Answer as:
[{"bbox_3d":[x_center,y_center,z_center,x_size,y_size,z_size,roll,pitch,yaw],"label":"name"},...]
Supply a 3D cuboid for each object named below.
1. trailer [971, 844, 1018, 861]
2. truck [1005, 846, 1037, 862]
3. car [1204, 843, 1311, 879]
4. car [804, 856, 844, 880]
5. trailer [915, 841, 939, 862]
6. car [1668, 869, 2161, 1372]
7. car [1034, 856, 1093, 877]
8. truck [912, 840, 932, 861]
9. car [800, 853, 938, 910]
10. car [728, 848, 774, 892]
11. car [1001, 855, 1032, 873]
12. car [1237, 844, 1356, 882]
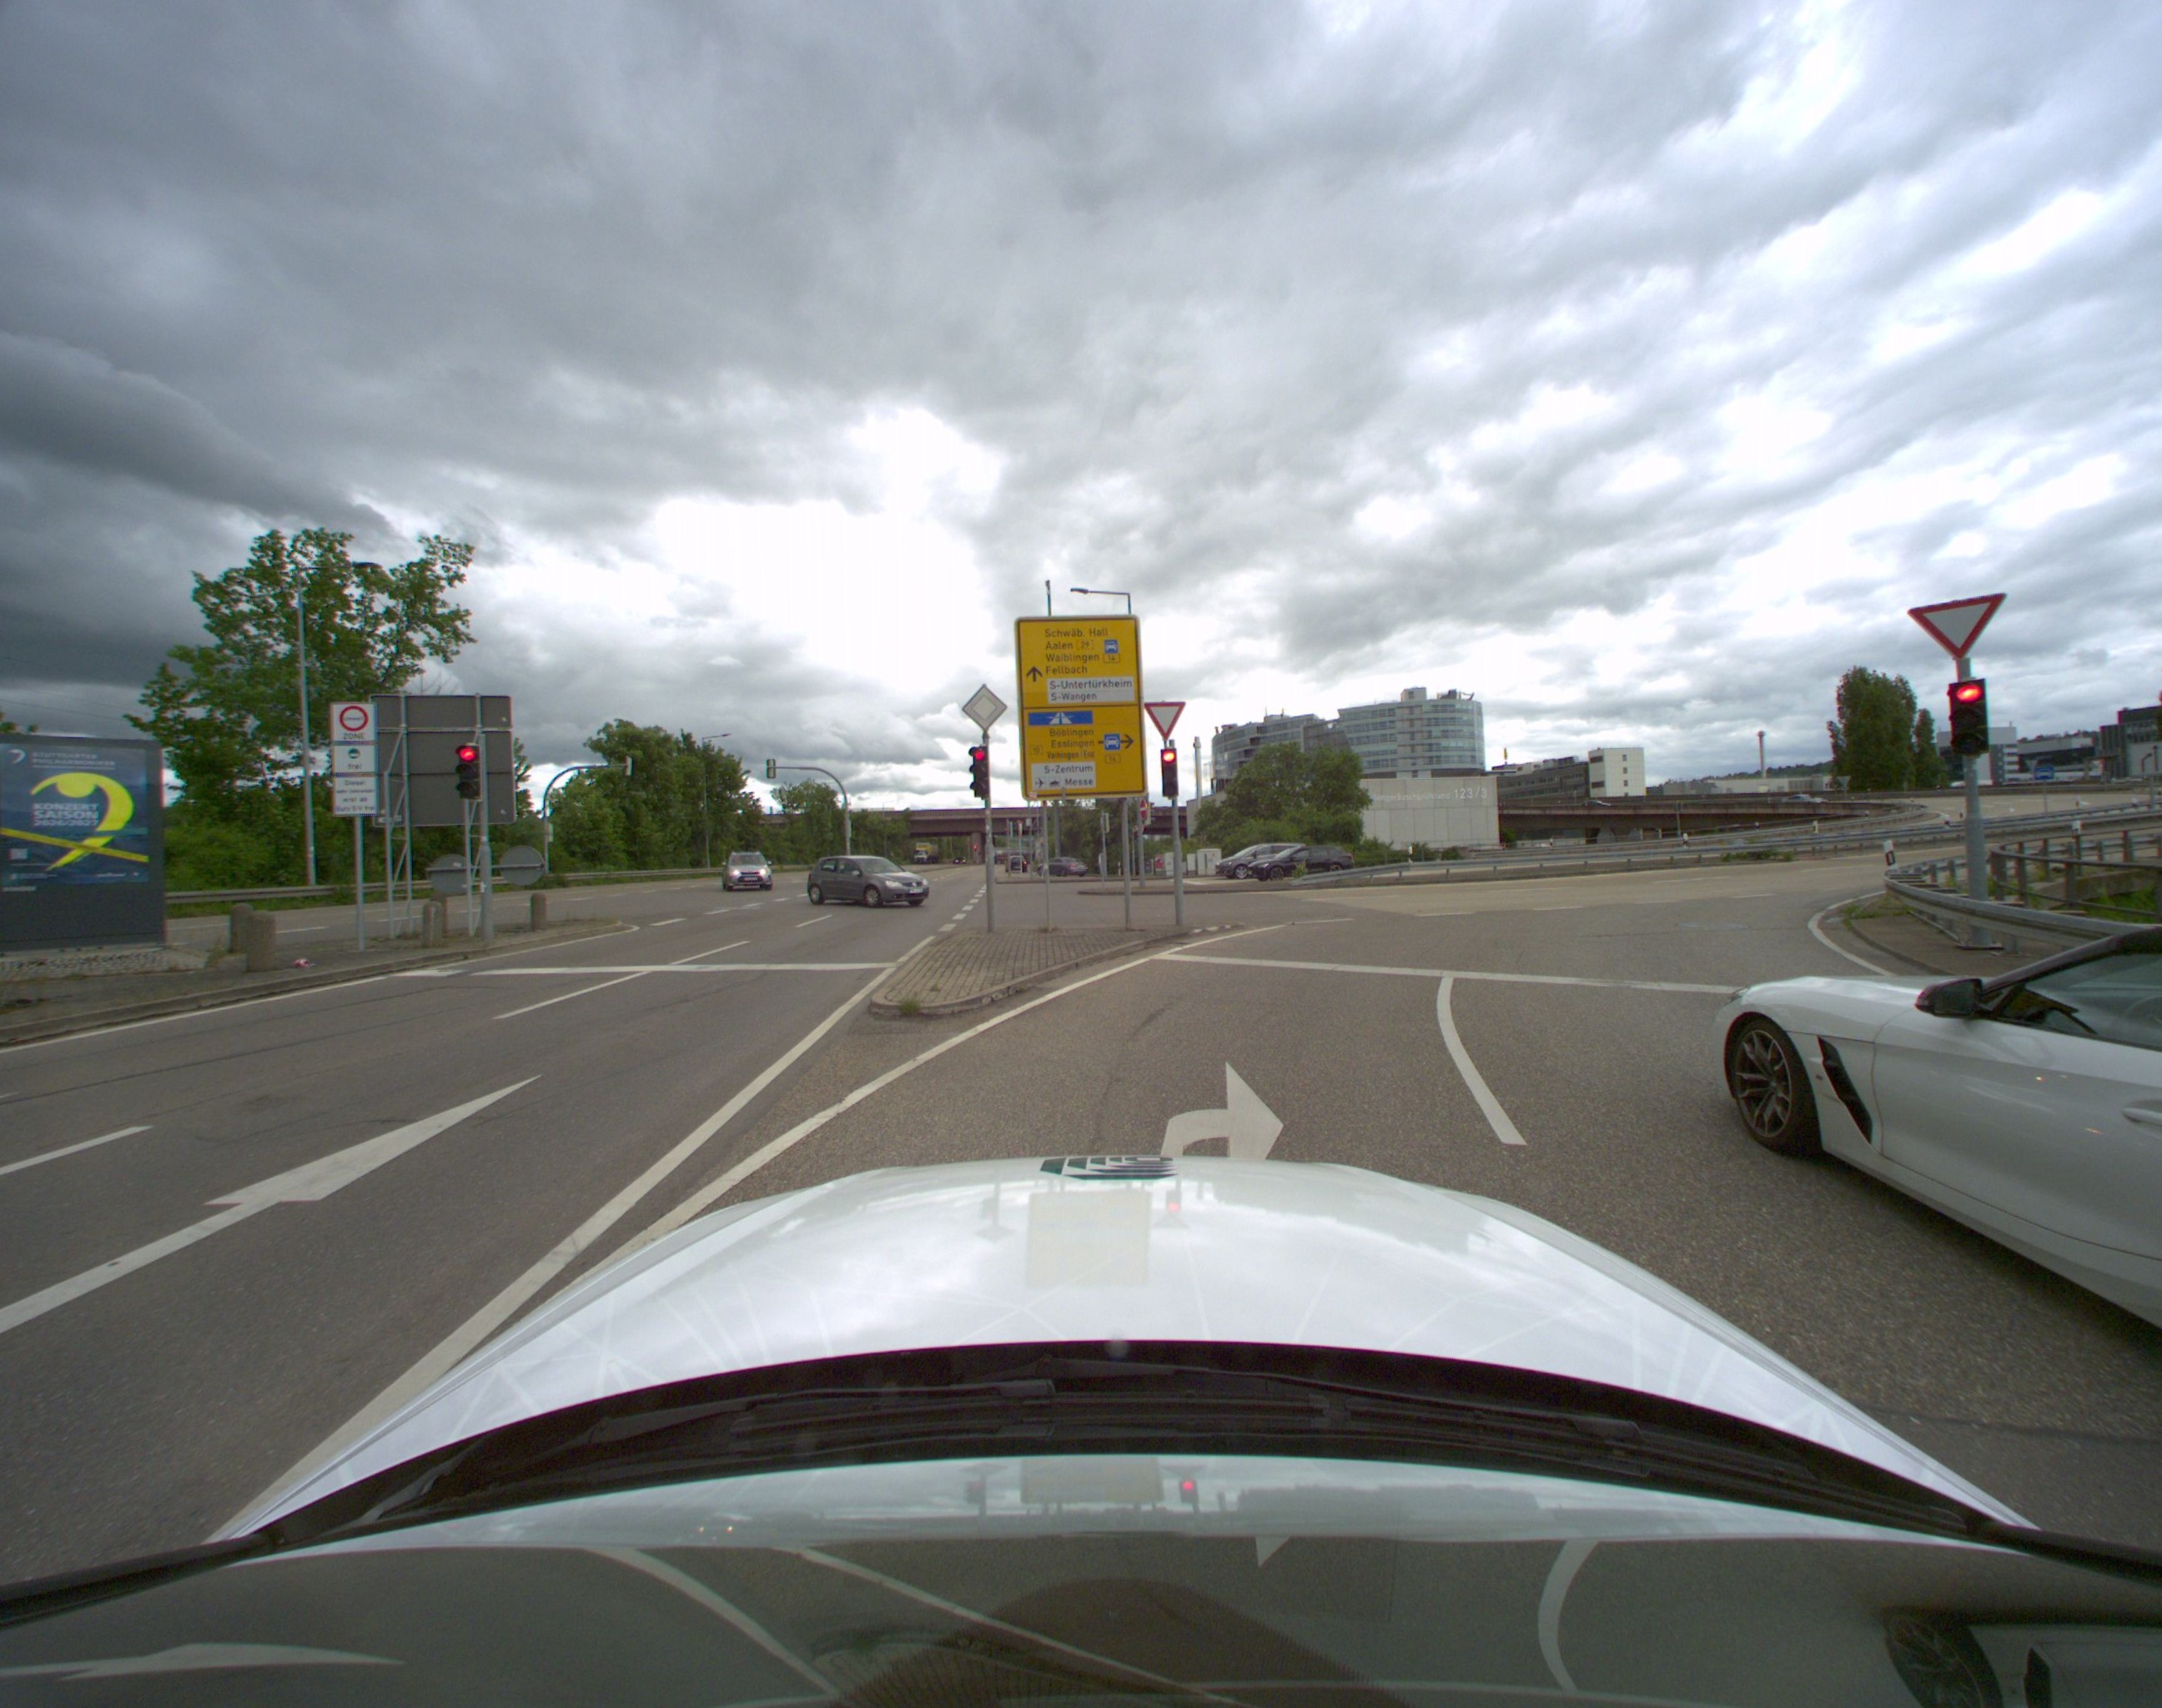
[{"bbox_3d":[-16.023,-0.291,151.992,8.528,2.624,2.605,2,0,-6],"label":"trailer"},{"bbox_3d":[-11.197,0.016,152.363,5.749,2.624,2.617,2,0,-4],"label":"truck"},{"bbox_3d":[8.483,0.294,39.259,4.674,1.571,1.951,-1,1,-7],"label":"car"},{"bbox_3d":[-16.749,0.894,53.238,1.722,1.400,4.058,-2,1,-6],"label":"car"},{"bbox_3d":[-31.374,-0.476,165.925,2.863,4.084,11.421,1,1,-1],"label":"trailer"},{"bbox_3d":[3.979,0.760,2.689,1.793,1.291,4.278,0,1,13],"label":"car"},{"bbox_3d":[-1.282,0.895,57.892,2.011,1.442,4.059,1,-2,-44],"label":"car"},{"bbox_3d":[-31.317,-0.643,160.766,2.863,4.084,6.484,1,0,-1],"label":"truck"},{"bbox_3d":[-6.302,0.740,23.967,4.190,1.461,1.741,1,2,38],"label":"car"},{"bbox_3d":[-14.468,0.651,35.657,1.732,1.737,4.521,-2,1,-23],"label":"car"},{"bbox_3d":[-5.725,0.913,72.208,1.997,1.464,4.088,0,-2,-15],"label":"car"},{"bbox_3d":[9.278,0.360,35.289,4.604,1.457,1.950,-1,1,-9],"label":"car"}]
